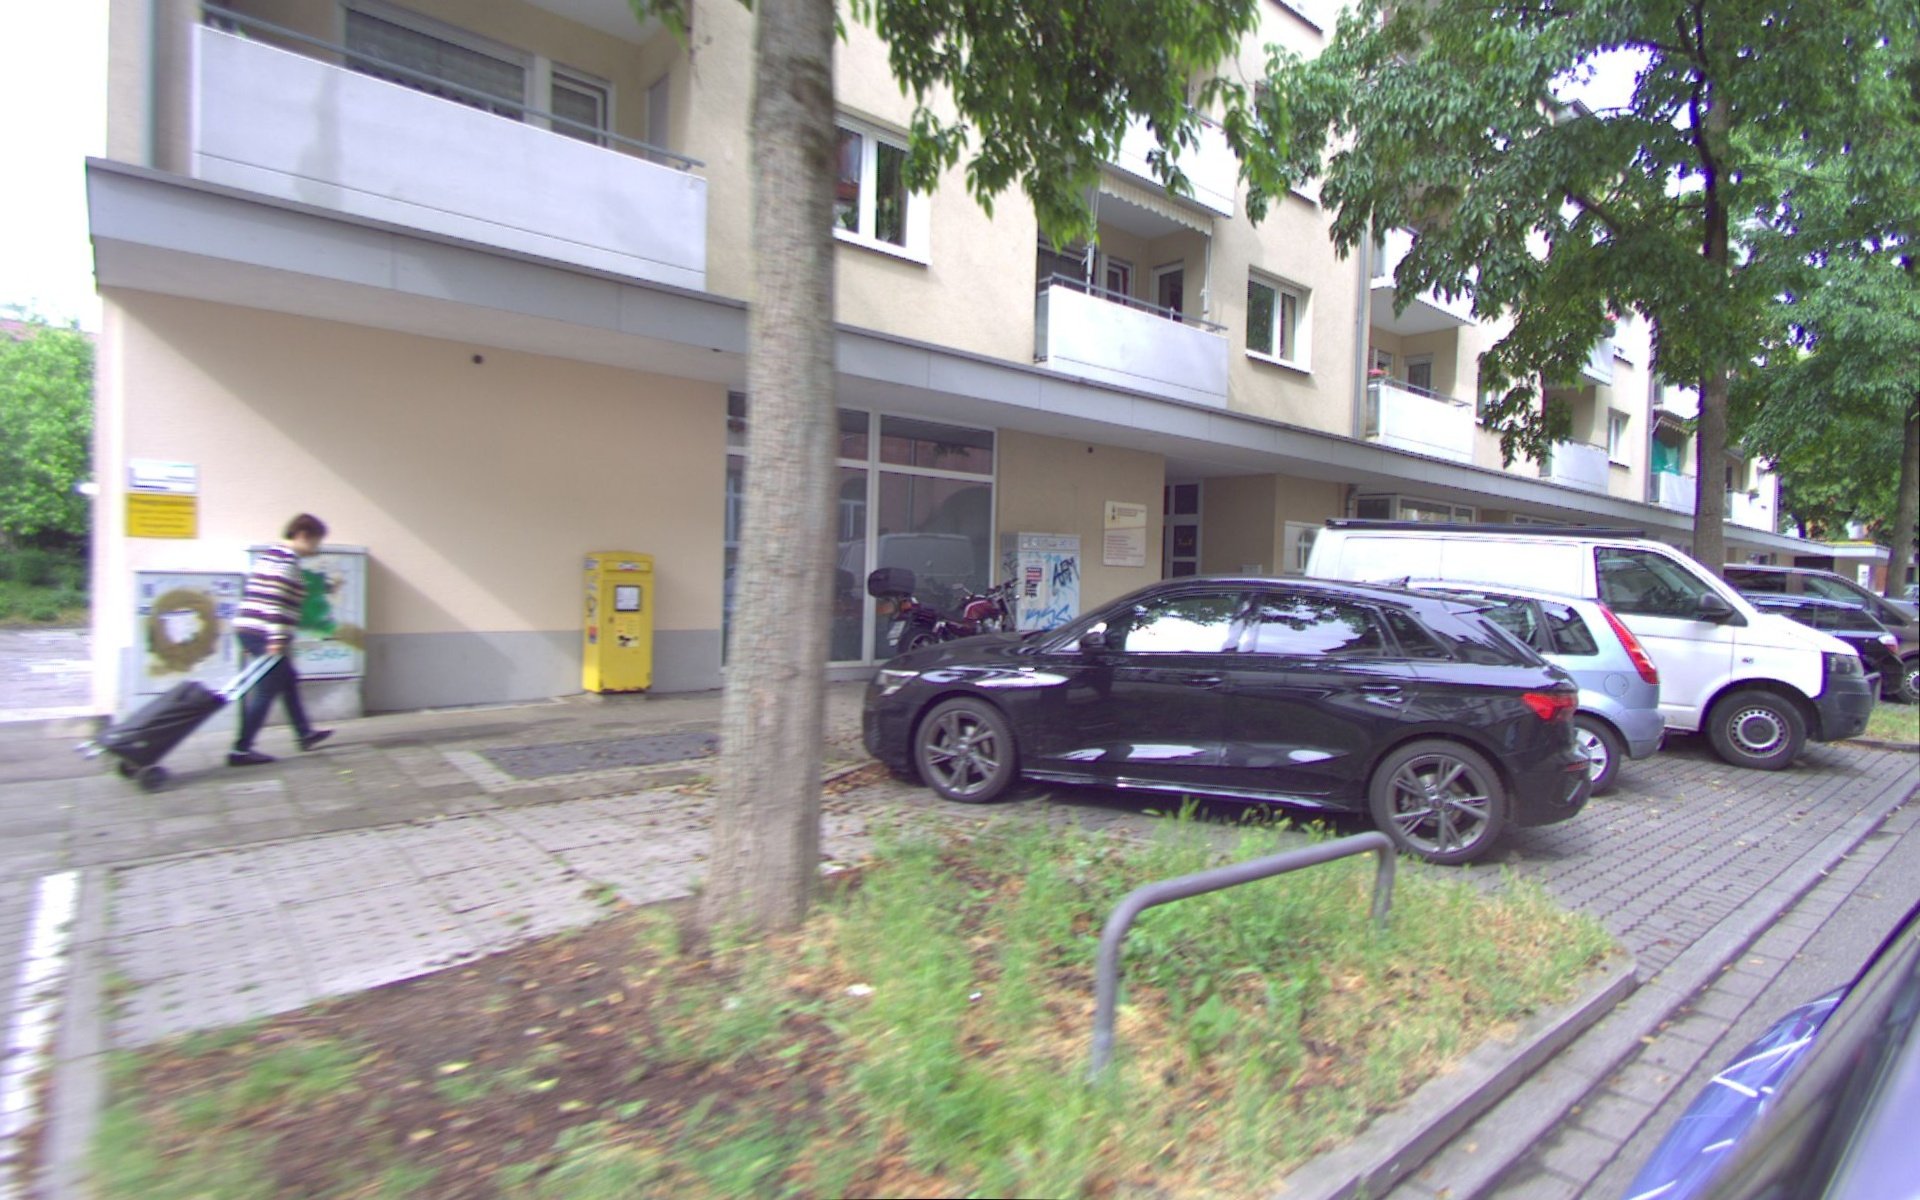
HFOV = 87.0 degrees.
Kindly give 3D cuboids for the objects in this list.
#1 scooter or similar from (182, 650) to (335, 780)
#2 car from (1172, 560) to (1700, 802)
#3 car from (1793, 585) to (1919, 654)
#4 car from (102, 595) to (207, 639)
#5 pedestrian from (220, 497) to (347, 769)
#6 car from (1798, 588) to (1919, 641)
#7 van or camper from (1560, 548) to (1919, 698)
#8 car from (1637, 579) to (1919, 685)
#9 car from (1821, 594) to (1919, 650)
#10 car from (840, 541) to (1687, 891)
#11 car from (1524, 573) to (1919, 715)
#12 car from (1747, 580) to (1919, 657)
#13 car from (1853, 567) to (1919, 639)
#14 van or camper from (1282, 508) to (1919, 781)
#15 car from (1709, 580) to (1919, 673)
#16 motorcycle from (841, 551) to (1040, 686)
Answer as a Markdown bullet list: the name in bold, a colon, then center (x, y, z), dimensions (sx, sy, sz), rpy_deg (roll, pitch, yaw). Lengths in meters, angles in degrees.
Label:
- **scooter or similar**: center (-4.128, 0.650, 5.953), dimensions (0.682, 0.631, 0.543), rpy_deg (0, 3, -41)
- **car**: center (3.533, 0.494, 8.076), dimensions (3.381, 1.459, 1.661), rpy_deg (4, 3, 19)
- **car**: center (22.706, 0.472, 24.635), dimensions (3.338, 1.515, 1.835), rpy_deg (3, 2, 27)
- **car**: center (-36.258, 0.728, 45.669), dimensions (3.480, 1.664, 1.651), rpy_deg (-3, 5, -33)
- **pedestrian**: center (-4.159, 0.184, 6.218), dimensions (0.570, 1.559, 0.577), rpy_deg (1, 0, -41)
- **car**: center (28.527, 0.444, 31.102), dimensions (3.875, 1.483, 1.809), rpy_deg (3, 2, 26)
- **van or camper**: center (12.219, 0.274, 15.405), dimensions (4.970, 1.892, 2.110), rpy_deg (4, 3, 25)
- **car**: center (14.249, 0.483, 17.580), dimensions (3.824, 1.520, 1.896), rpy_deg (3, 3, 26)
- **car**: center (27.468, 0.651, 28.771), dimensions (4.061, 1.460, 1.842), rpy_deg (3, 2, 19)
- **car**: center (1.611, 0.465, 6.300), dimensions (4.263, 1.409, 1.911), rpy_deg (4, 3, 20)
- **car**: center (10.098, 0.492, 13.673), dimensions (3.957, 1.462, 1.831), rpy_deg (4, 3, 19)
- **car**: center (20.999, 0.429, 23.194), dimensions (4.176, 1.518, 1.963), rpy_deg (4, 3, 20)
- **car**: center (31.980, 0.215, 32.293), dimensions (4.635, 2.223, 2.060), rpy_deg (4, 2, 12)
- **van or camper**: center (5.793, 0.194, 9.873), dimensions (4.704, 2.017, 1.981), rpy_deg (4, 5, 29)
- **car**: center (16.883, 0.479, 19.108), dimensions (4.013, 1.501, 1.930), rpy_deg (3, 3, 27)
- **motorcycle**: center (-0.170, 0.177, 11.119), dimensions (2.213, 1.316, 0.679), rpy_deg (0, 4, -41)
